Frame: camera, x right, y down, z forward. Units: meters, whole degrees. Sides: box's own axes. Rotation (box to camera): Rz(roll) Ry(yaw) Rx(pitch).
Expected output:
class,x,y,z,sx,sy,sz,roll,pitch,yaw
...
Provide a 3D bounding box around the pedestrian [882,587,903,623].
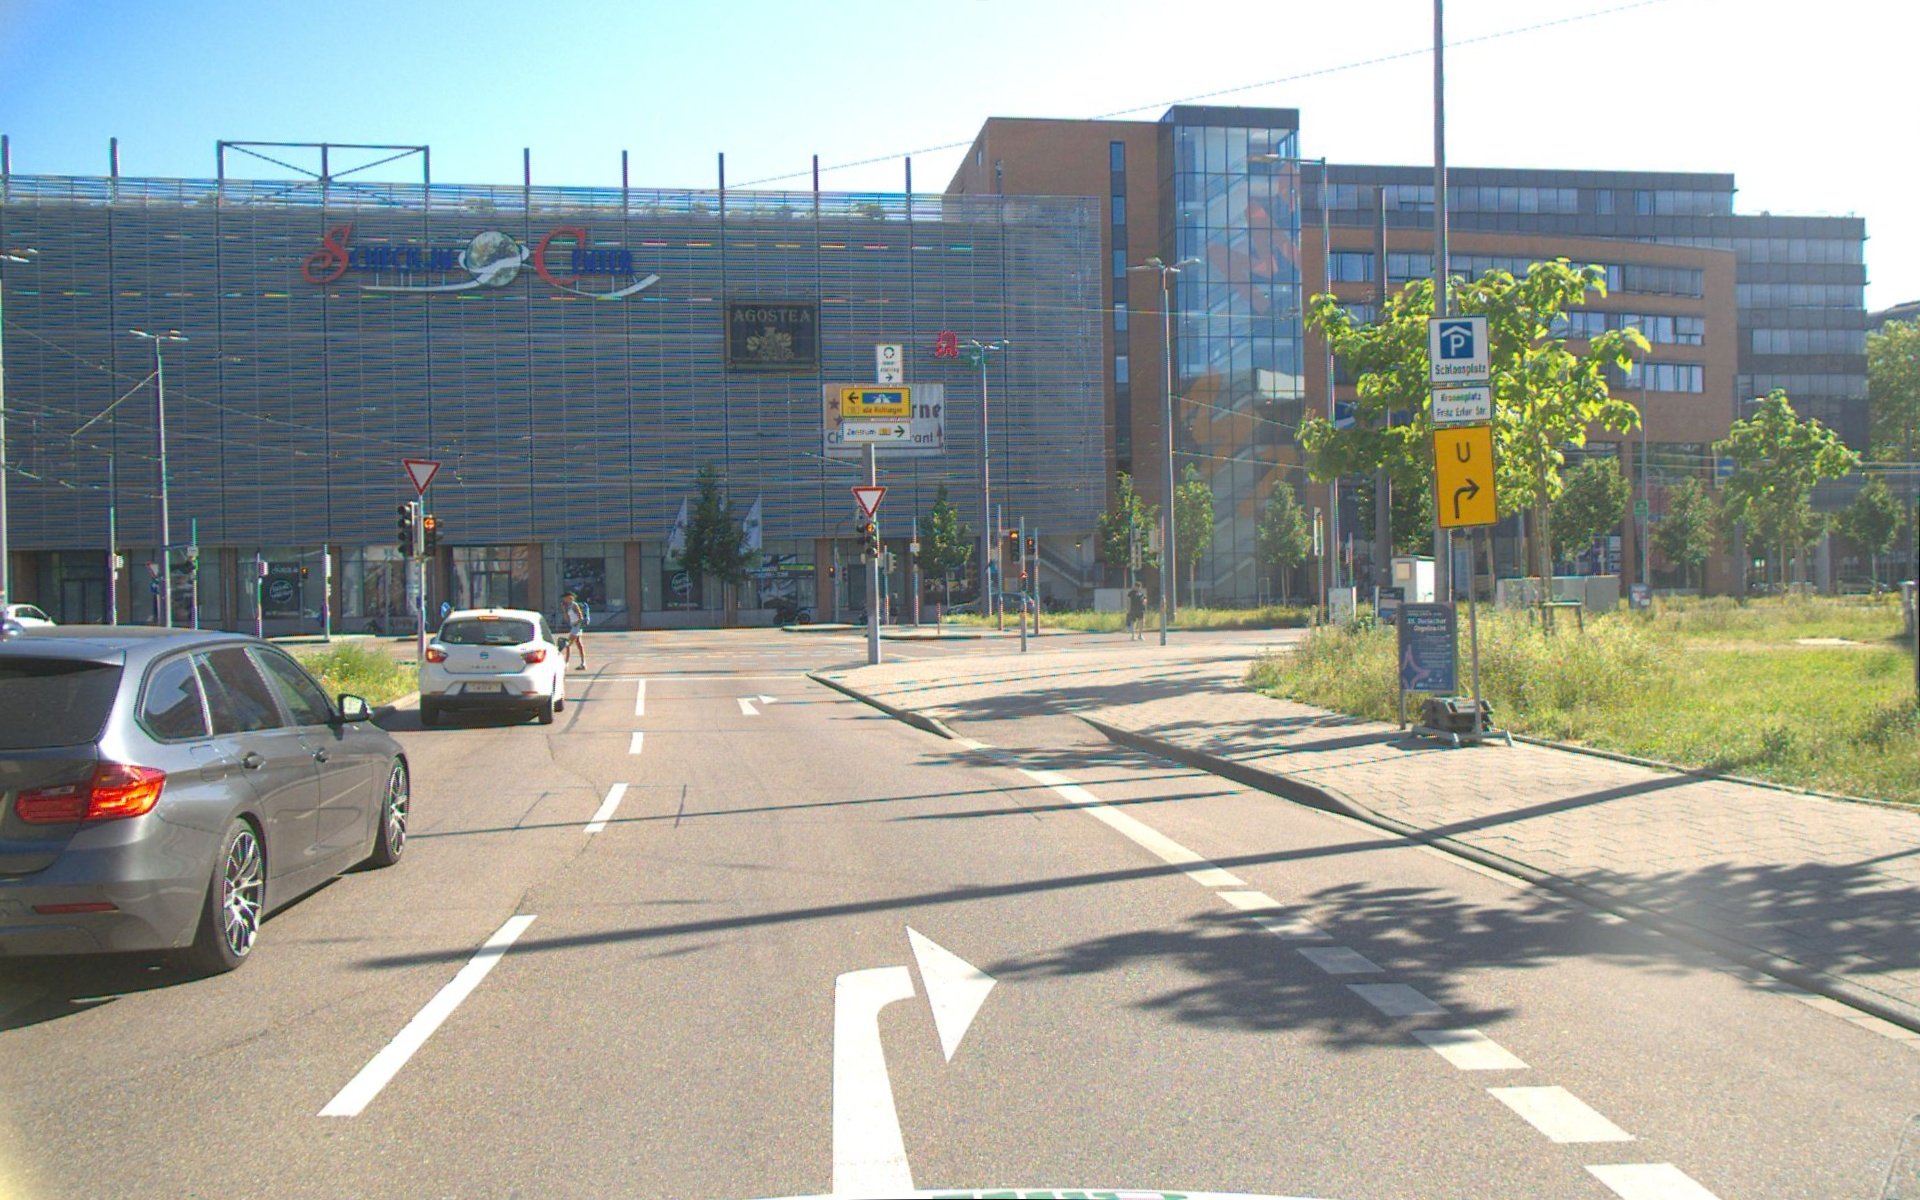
class,x,y,z,sx,sy,sz,roll,pitch,yaw
pedestrian,-3.430,0.244,84.109,0.840,1.768,0.750,-2,0,-17

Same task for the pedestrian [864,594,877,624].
class,x,y,z,sx,sy,sz,roll,pitch,yaw
pedestrian,-4.740,0.459,87.718,0.579,1.561,0.656,-1,0,-11

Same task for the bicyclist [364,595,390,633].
class,x,y,z,sx,sy,sz,roll,pitch,yaw
bicyclist,-28.321,0.676,80.365,0.800,1.834,0.841,-1,0,37

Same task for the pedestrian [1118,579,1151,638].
class,x,y,z,sx,sy,sz,roll,pitch,yaw
pedestrian,5.280,0.248,50.147,0.792,1.738,0.760,-1,0,-11

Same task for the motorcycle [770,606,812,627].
class,x,y,z,sx,sy,sz,roll,pitch,yaw
motorcycle,-9.225,0.904,90.279,2.163,1.061,1.058,-1,1,-11

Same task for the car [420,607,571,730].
class,x,y,z,sx,sy,sz,roll,pitch,yaw
car,-6.114,0.852,22.104,1.603,1.448,3.772,1,0,-11

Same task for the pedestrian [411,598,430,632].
class,x,y,z,sx,sy,sz,roll,pitch,yaw
pedestrian,-28.459,0.788,87.306,0.833,1.794,0.618,-1,0,-12

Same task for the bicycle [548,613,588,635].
class,x,y,z,sx,sy,sz,roll,pitch,yaw
bicycle,-20.766,1.252,87.611,1.990,1.078,1.142,-2,0,-12

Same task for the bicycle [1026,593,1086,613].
class,x,y,z,sx,sy,sz,roll,pitch,yaw
bicycle,5.423,0.179,93.602,3.295,1.096,1.116,-1,1,-5

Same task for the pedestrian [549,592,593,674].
class,x,y,z,sx,sy,sz,roll,pitch,yaw
pedestrian,-8.449,0.701,35.952,0.870,1.737,0.710,-1,0,-11

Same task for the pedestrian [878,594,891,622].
class,x,y,z,sx,sy,sz,roll,pitch,yaw
pedestrian,-4.041,0.437,88.474,0.579,1.488,0.656,-1,0,-11

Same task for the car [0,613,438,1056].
class,x,y,z,sx,sy,sz,roll,pitch,yaw
car,-3.842,0.821,7.827,1.700,1.448,4.462,1,0,-6

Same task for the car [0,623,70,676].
class,x,y,z,sx,sy,sz,roll,pitch,yaw
car,-34.709,1.785,60.395,1.715,1.825,4.003,0,0,11

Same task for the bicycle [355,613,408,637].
class,x,y,z,sx,sy,sz,roll,pitch,yaw
bicycle,-28.169,1.218,80.628,1.026,1.089,2.235,-1,1,38

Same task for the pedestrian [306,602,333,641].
class,x,y,z,sx,sy,sz,roll,pitch,yaw
pedestrian,-31.044,1.041,80.209,0.886,1.901,0.819,-1,0,32

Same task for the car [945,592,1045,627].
class,x,y,z,sx,sy,sz,roll,pitch,yaw
car,1.612,0.425,77.043,4.407,1.521,1.491,-2,0,-11
